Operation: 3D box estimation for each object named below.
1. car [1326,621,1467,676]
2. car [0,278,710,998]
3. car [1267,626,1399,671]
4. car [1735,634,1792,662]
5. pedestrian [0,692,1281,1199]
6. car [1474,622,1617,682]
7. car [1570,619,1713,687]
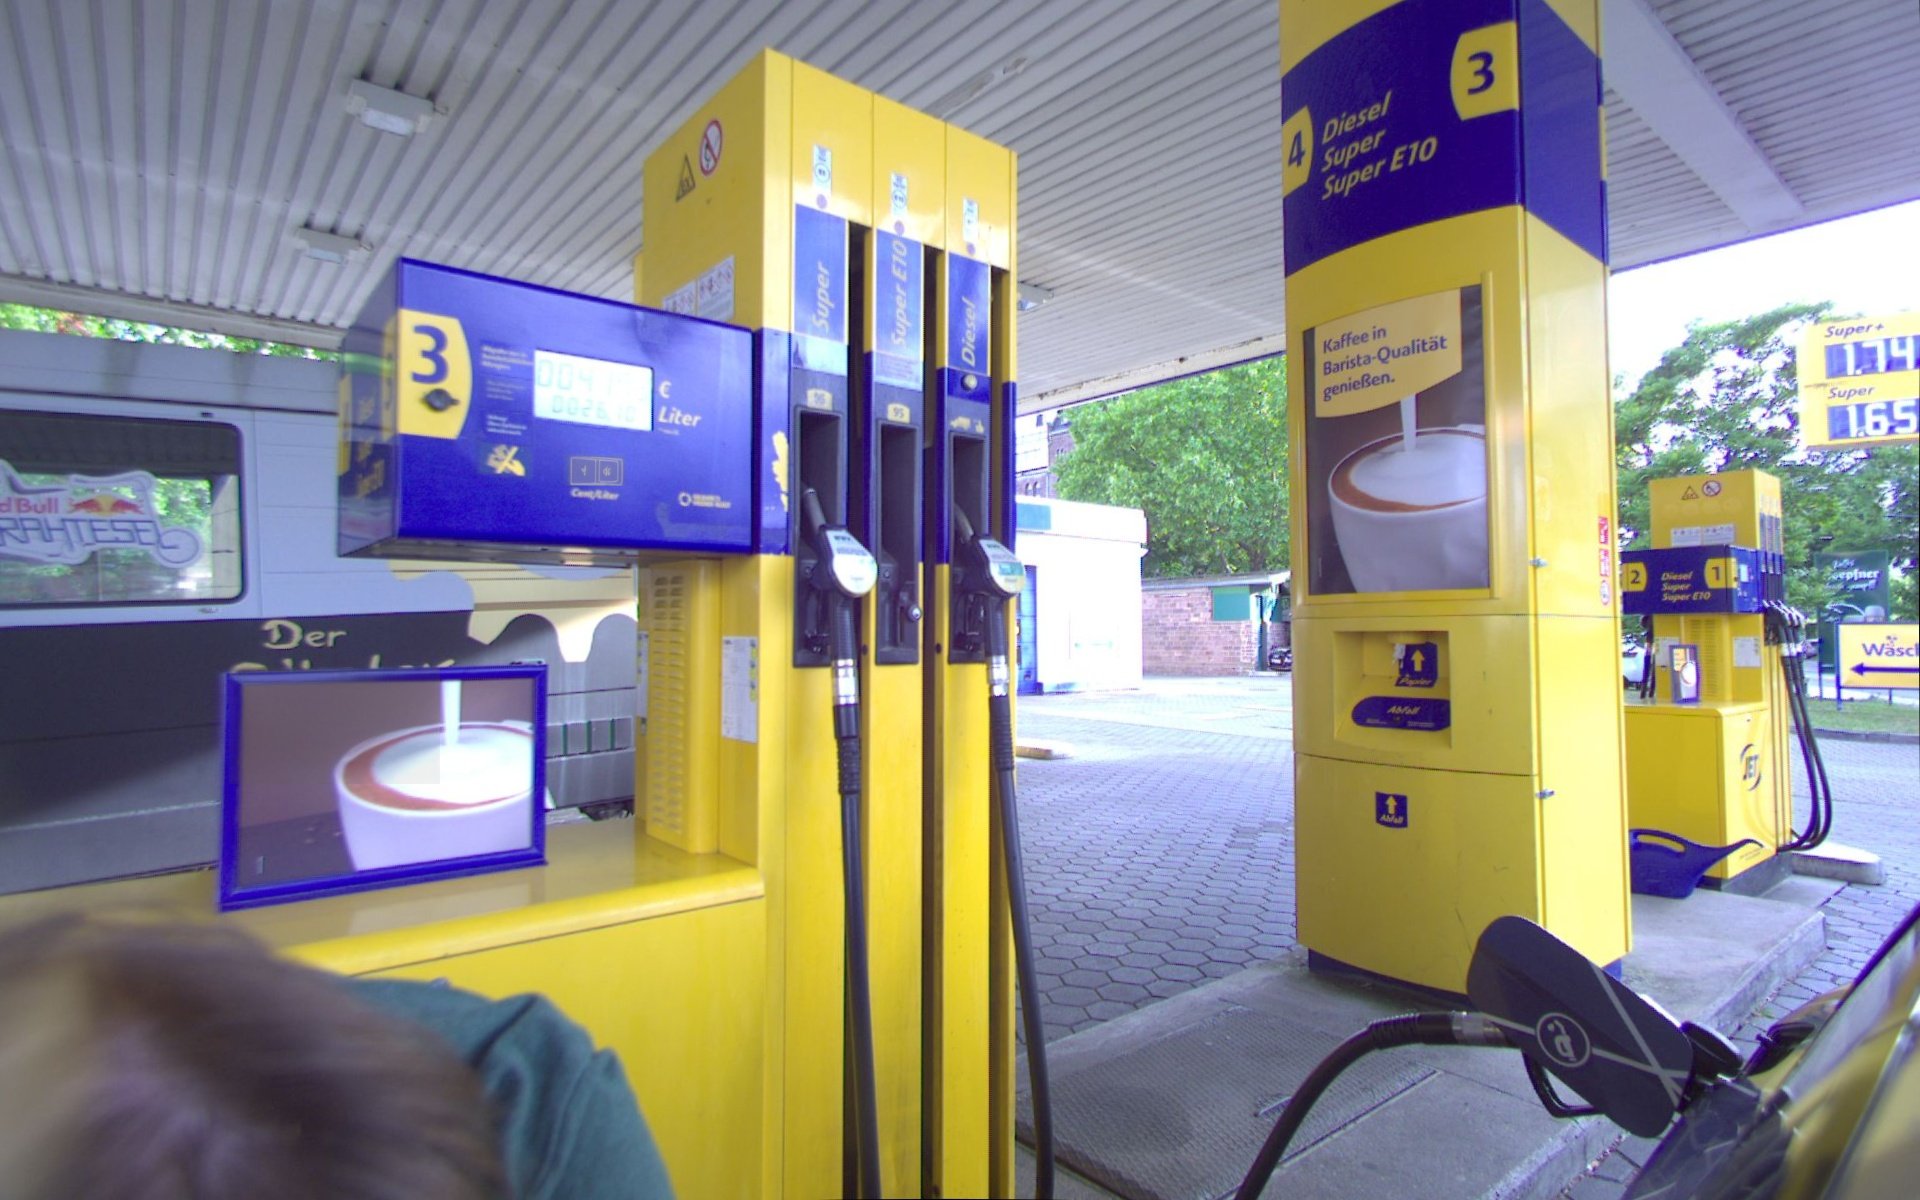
[{"bbox_3d":[13.887,1.533,32.140,4.303,1.622,1.777,2,-1,-28],"label":"car"},{"bbox_3d":[-4.110,0.161,4.898,5.197,2.726,2.258,1,-2,-39],"label":"car"},{"bbox_3d":[12.691,1.656,34.432,4.303,1.393,1.777,2,-1,-28],"label":"car"},{"bbox_3d":[44.219,2.625,55.738,1.673,1.452,3.396,-2,-3,26],"label":"car"},{"bbox_3d":[-0.335,0.750,0.550,0.662,1.298,0.751,0,0,-41],"label":"pedestrian"},{"bbox_3d":[17.847,1.592,30.805,4.303,1.622,1.776,4,-4,-28],"label":"car"},{"bbox_3d":[18.356,1.449,27.206,4.308,1.622,1.774,4,-4,-35],"label":"car"}]
